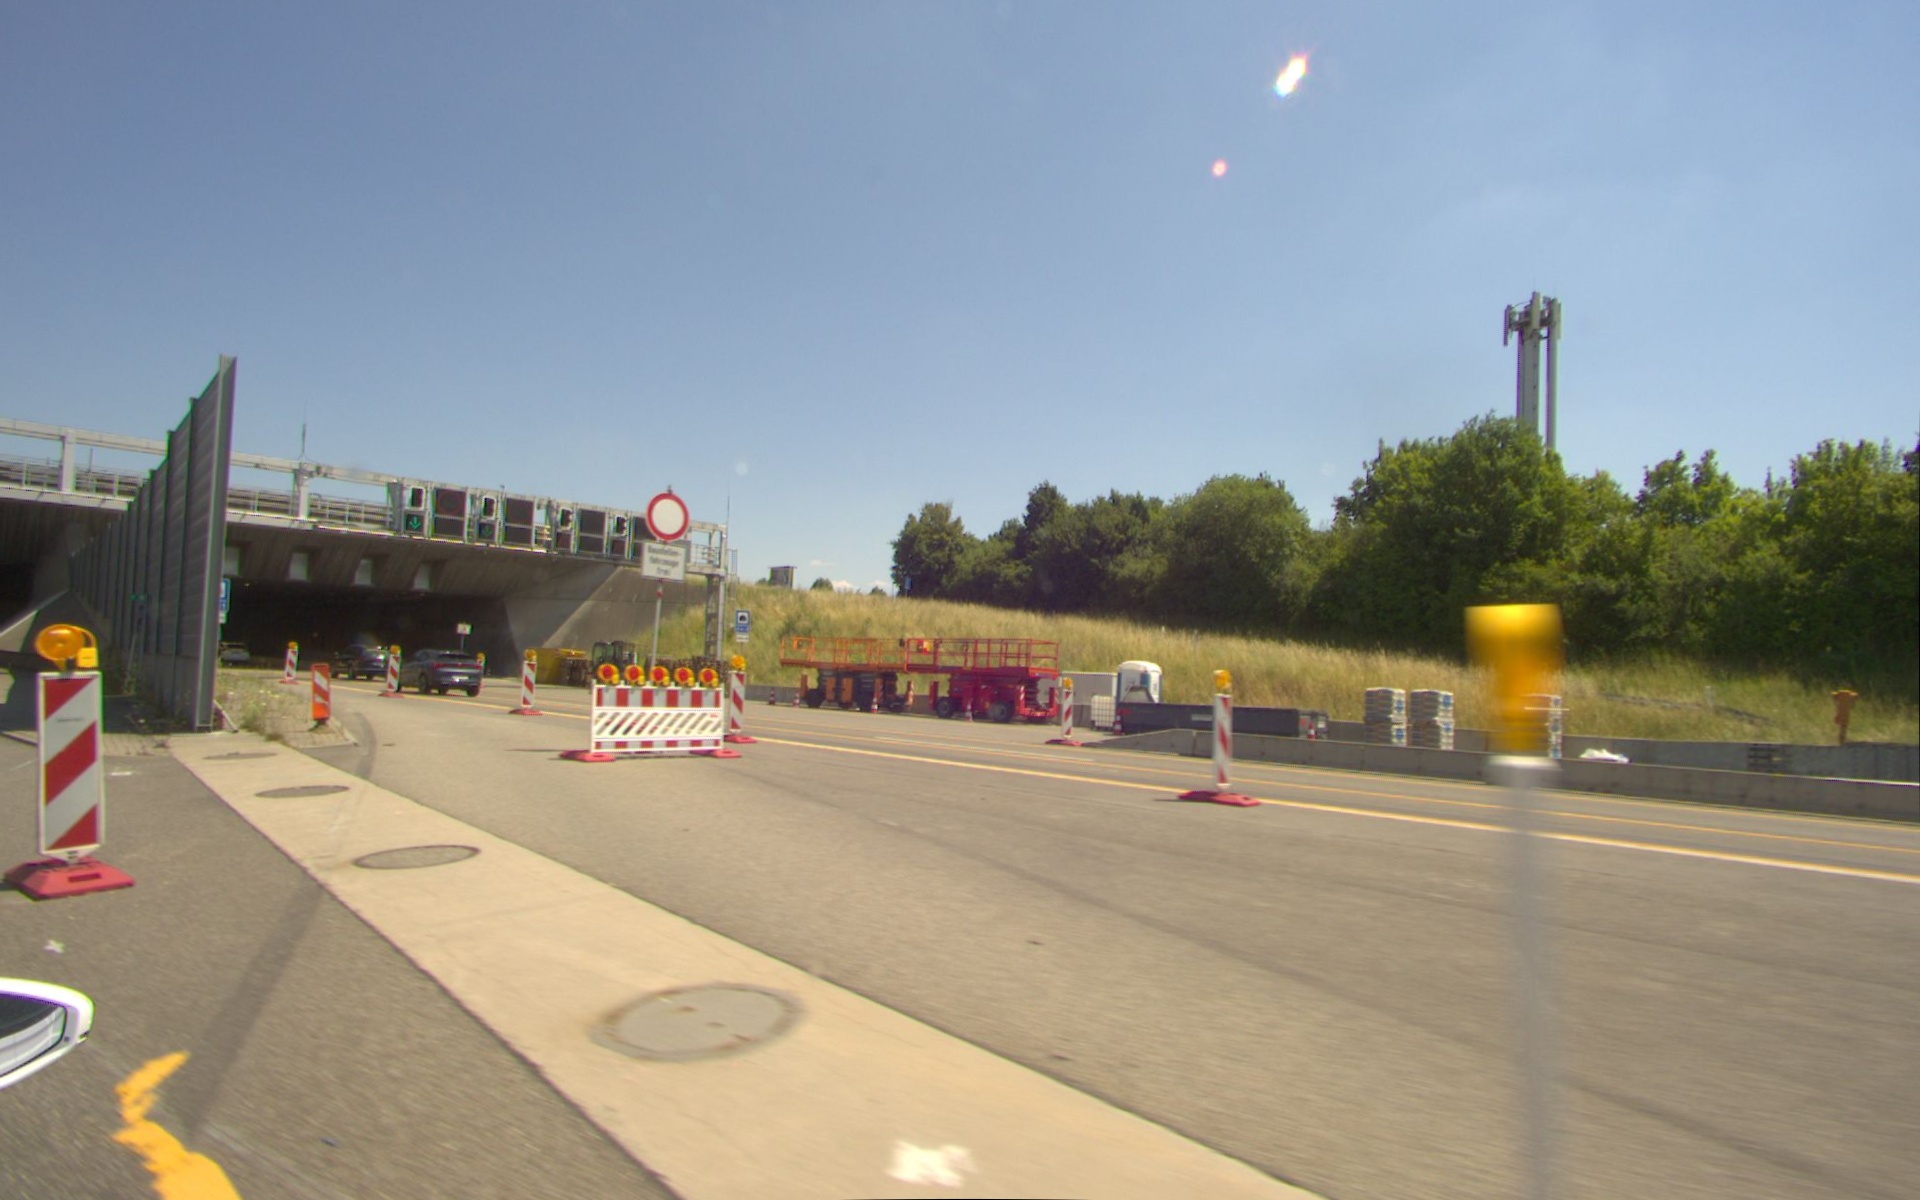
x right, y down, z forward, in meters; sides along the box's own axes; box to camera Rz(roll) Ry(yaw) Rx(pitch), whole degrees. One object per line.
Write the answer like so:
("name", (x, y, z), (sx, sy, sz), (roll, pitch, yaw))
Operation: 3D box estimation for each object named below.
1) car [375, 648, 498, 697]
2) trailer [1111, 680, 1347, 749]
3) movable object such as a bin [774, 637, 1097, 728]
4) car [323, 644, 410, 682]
("car", (-18.201, 2.495, 34.725), (4.619, 1.503, 1.989), (-1, -6, 38))
("trailer", (7.762, 3.248, 29.256), (6.156, 1.588, 2.588), (-1, -3, 37))
("movable object such as a bin", (-1.537, 3.053, 39.810), (14.533, 3.048, 3.099), (-2, -4, 41))
("car", (-28.798, 3.031, 48.530), (5.178, 1.682, 2.012), (-2, -6, 41))
